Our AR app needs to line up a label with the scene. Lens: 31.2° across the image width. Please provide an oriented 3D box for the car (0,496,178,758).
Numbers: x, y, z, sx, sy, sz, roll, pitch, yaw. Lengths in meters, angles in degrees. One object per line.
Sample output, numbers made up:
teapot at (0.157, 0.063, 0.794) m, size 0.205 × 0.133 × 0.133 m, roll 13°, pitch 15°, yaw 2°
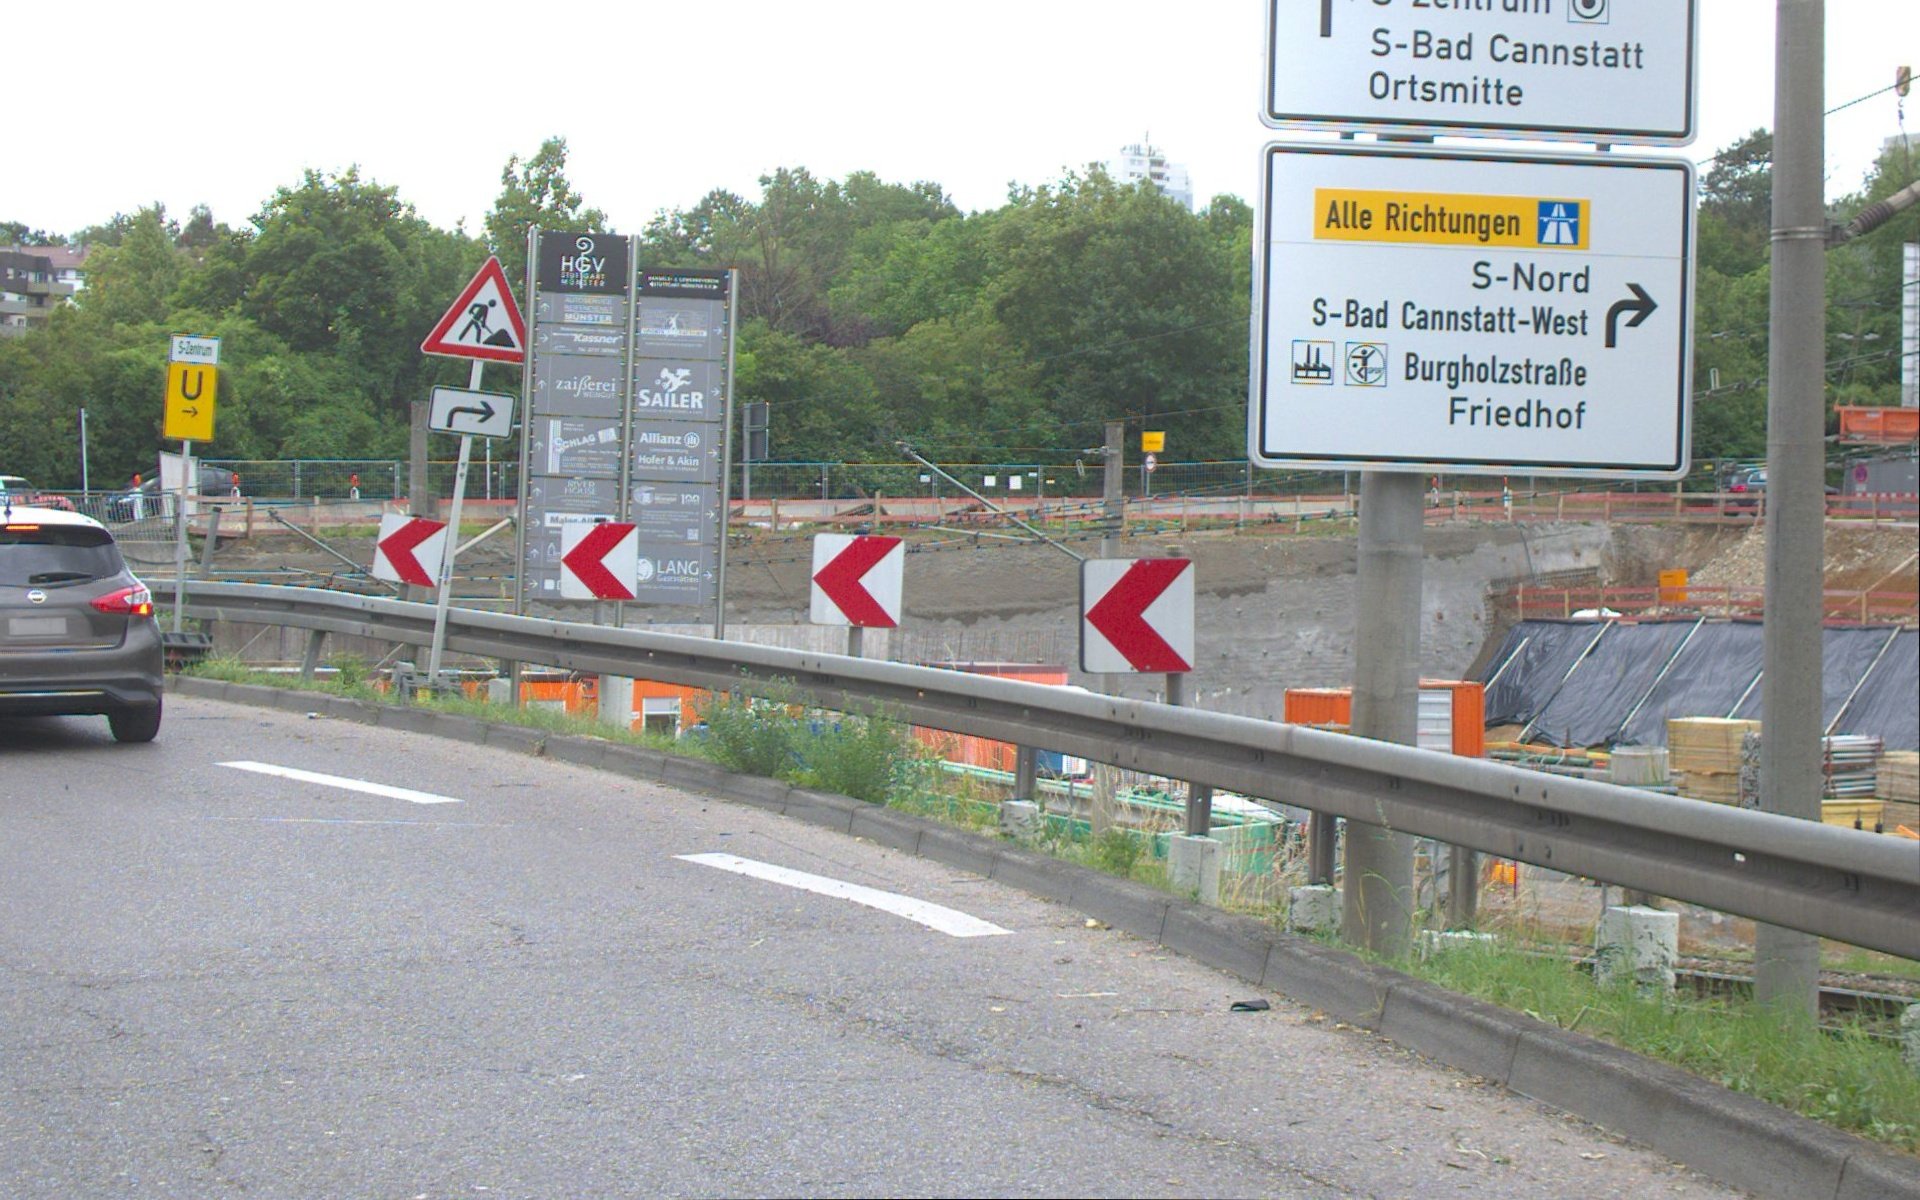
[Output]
car at (-6.567, 0.110, 22.790) m, size 1.797 × 1.546 × 4.001 m, roll -1°, pitch 3°, yaw -26°

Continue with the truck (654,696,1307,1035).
truck at (0.009, 3.903, 53.791) m, size 2.839 × 3.879 × 11.615 m, roll 0°, pitch 3°, yaw -44°

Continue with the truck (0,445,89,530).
truck at (-24.585, -2.922, 88.699) m, size 1.996 × 2.007 × 3.995 m, roll 3°, pitch 0°, yaw 23°
